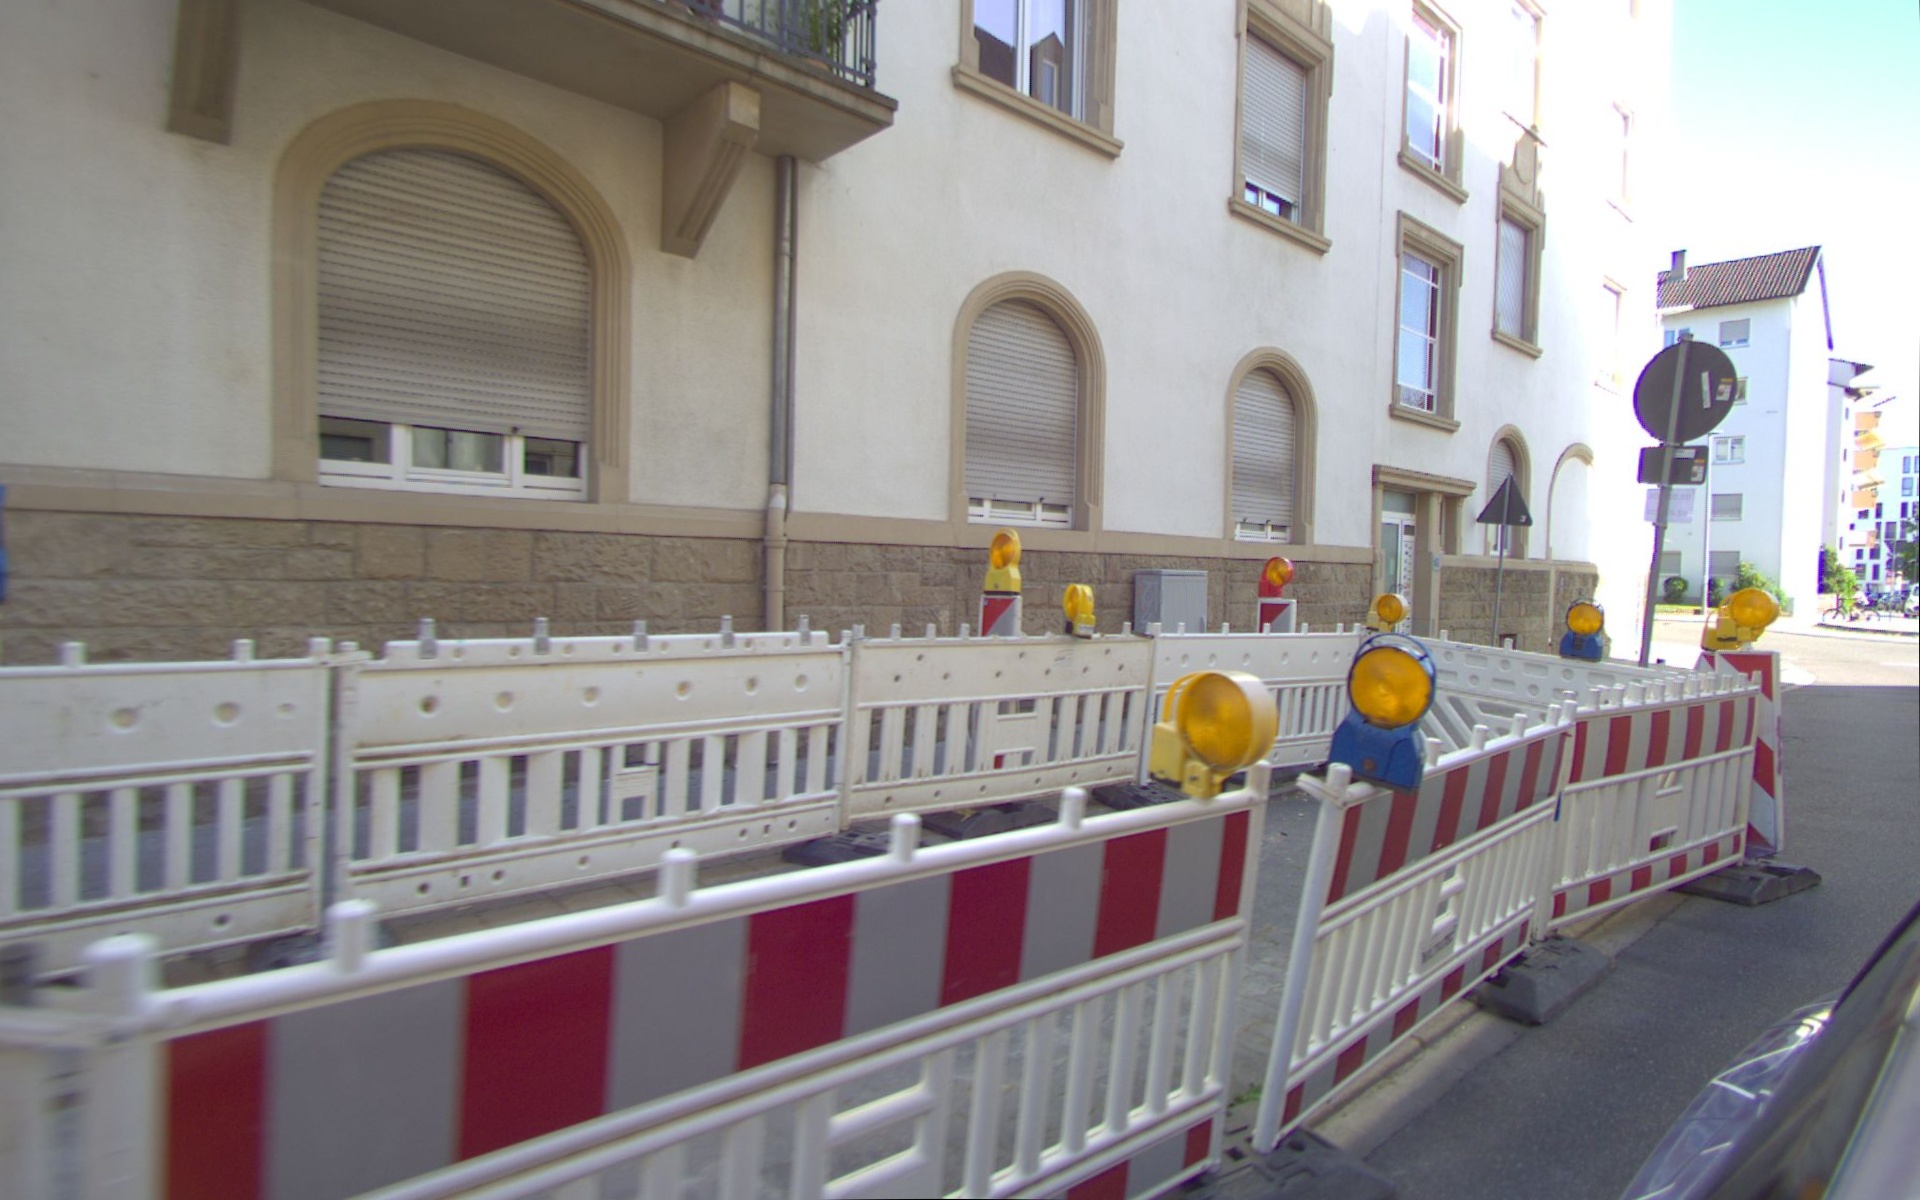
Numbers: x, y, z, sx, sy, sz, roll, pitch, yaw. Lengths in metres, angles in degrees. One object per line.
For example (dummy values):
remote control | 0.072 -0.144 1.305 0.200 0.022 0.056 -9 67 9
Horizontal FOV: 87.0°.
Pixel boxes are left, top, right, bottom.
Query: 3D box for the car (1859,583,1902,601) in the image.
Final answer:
car | 98.718 -0.869 108.579 2.119 1.832 4.791 2 2 27

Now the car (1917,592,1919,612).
car | 55.579 -0.237 56.830 4.712 2.036 2.000 0 7 -41

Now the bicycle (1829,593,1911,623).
bicycle | 35.625 0.303 39.668 2.187 1.027 0.805 3 2 25

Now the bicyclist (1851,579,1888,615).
bicyclist | 35.627 -0.126 39.664 0.817 1.328 0.805 3 2 24

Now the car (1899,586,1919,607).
car | 72.237 -0.187 75.976 1.748 1.470 3.952 9 6 33
